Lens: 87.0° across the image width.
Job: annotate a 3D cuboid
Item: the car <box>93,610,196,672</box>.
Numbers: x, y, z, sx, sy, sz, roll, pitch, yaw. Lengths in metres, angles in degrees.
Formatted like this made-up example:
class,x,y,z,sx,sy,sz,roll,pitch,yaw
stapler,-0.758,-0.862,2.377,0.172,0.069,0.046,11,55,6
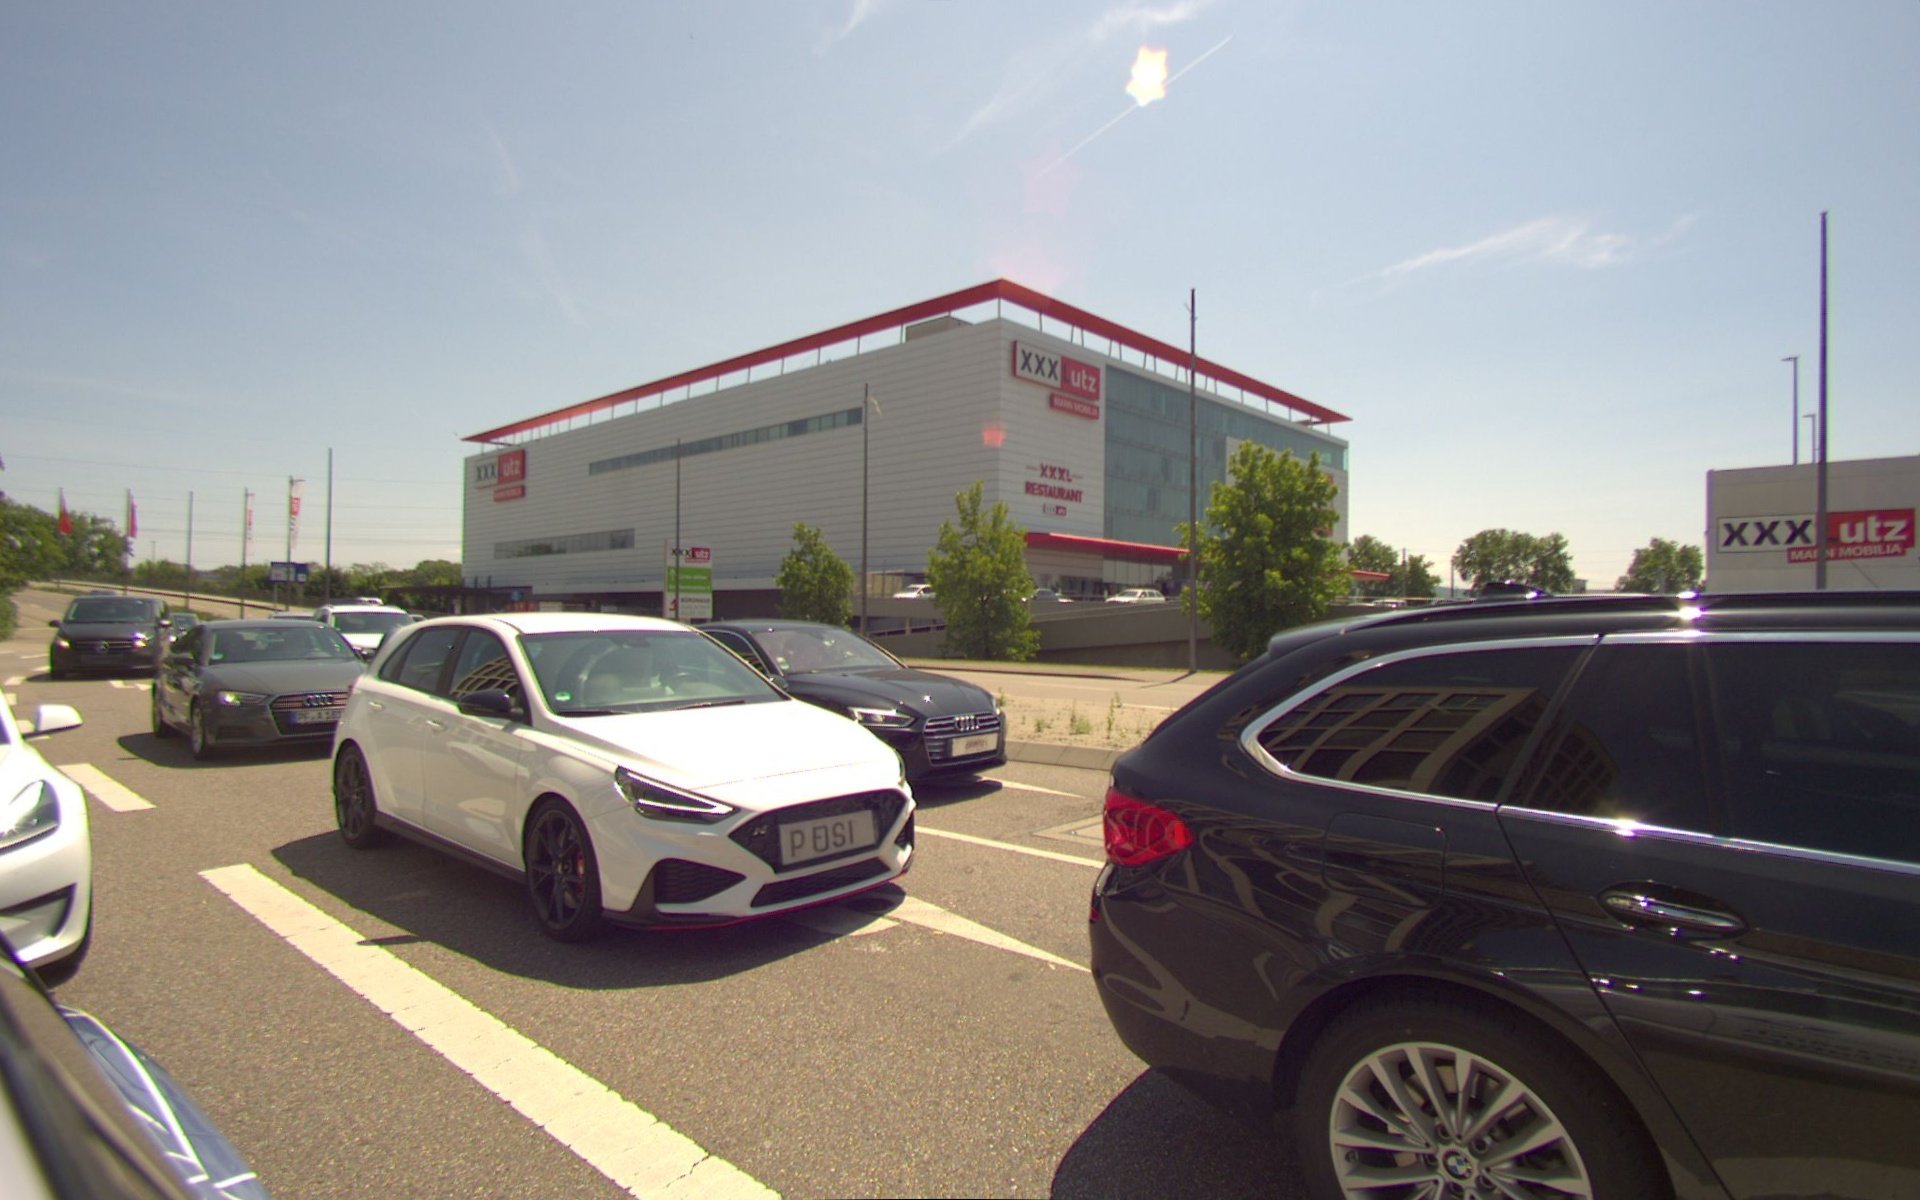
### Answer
class,x,y,z,sx,sy,sz,roll,pitch,yaw
car,-23.461,1.148,29.250,1.784,1.652,4.011,1,-2,-32

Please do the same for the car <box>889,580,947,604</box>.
class,x,y,z,sx,sy,sz,roll,pitch,yaw
car,-2.826,-0.535,69.210,1.717,1.519,3.944,-1,-2,42

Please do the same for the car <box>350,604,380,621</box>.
class,x,y,z,sx,sy,sz,roll,pitch,yaw
car,-79.576,1.708,135.364,4.815,2.300,2.162,-1,-2,44

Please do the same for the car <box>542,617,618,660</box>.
class,x,y,z,sx,sy,sz,roll,pitch,yaw
car,-16.164,1.588,42.958,1.838,1.736,4.050,2,-2,-39

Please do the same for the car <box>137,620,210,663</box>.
class,x,y,z,sx,sy,sz,roll,pitch,yaw
car,-28.189,1.474,36.371,1.582,1.451,3.744,1,-2,-30

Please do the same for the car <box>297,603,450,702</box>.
class,x,y,z,sx,sy,sz,roll,pitch,yaw
car,-11.301,0.907,19.354,1.743,1.653,4.498,0,0,-40

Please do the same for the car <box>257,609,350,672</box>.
class,x,y,z,sx,sy,sz,roll,pitch,yaw
car,-16.448,0.968,25.275,1.741,1.433,3.908,-1,-1,-36

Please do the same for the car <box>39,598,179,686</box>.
class,x,y,z,sx,sy,sz,roll,pitch,yaw
car,-19.657,0.911,23.585,1.865,1.835,4.850,1,-1,-33

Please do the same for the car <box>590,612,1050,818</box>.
class,x,y,z,sx,sy,sz,roll,pitch,yaw
car,-1.472,0.864,9.180,4.466,1.415,1.654,-2,-1,42

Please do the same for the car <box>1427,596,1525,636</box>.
class,x,y,z,sx,sy,sz,roll,pitch,yaw
car,27.109,0.853,53.240,4.323,2.029,1.974,0,-2,38

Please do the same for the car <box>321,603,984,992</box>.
class,x,y,z,sx,sy,sz,roll,pitch,yaw
car,-1.988,0.762,5.802,4.068,1.447,1.769,-1,-1,41

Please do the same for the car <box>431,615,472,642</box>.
class,x,y,z,sx,sy,sz,roll,pitch,yaw
car,-37.158,2.043,73.894,1.791,1.918,3.734,2,-2,-41

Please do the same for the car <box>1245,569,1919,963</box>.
class,x,y,z,sx,sy,sz,roll,pitch,yaw
car,3.587,0.613,4.732,4.009,1.433,1.674,-2,-1,43

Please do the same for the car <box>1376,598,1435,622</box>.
class,x,y,z,sx,sy,sz,roll,pitch,yaw
car,36.304,0.859,82.448,4.000,1.915,1.972,-1,-2,43

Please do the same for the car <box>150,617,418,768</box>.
class,x,y,z,sx,sy,sz,roll,pitch,yaw
car,-7.727,0.903,11.412,1.744,1.393,4.092,2,-2,-45

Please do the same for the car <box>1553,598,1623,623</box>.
class,x,y,z,sx,sy,sz,roll,pitch,yaw
car,45.673,0.738,73.639,4.134,1.754,1.759,0,-2,42

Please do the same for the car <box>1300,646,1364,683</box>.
class,x,y,z,sx,sy,sz,roll,pitch,yaw
car,19.089,3.284,51.872,1.997,1.719,3.949,-1,-2,38

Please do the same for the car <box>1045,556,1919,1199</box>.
class,x,y,z,sx,sy,sz,roll,pitch,yaw
car,2.513,0.663,1.748,4.553,1.451,1.779,-1,-1,40

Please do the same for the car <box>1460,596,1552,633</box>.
class,x,y,z,sx,sy,sz,roll,pitch,yaw
car,30.874,0.829,57.274,4.323,2.029,1.975,0,-2,38

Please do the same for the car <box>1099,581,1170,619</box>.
class,x,y,z,sx,sy,sz,roll,pitch,yaw
car,9.939,0.040,57.513,4.407,2.029,1.680,2,-2,-44

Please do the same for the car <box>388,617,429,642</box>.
class,x,y,z,sx,sy,sz,roll,pitch,yaw
car,-39.533,2.112,72.474,1.838,1.736,4.050,2,-3,-39

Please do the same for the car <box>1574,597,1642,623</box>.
class,x,y,z,sx,sy,sz,roll,pitch,yaw
car,52.263,0.776,81.667,4.328,2.029,1.972,0,-2,42

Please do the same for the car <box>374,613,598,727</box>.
class,x,y,z,sx,sy,sz,roll,pitch,yaw
car,-7.160,0.943,15.047,1.744,1.413,4.435,0,-1,-43

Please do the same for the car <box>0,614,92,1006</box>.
class,x,y,z,sx,sy,sz,roll,pitch,yaw
car,-5.588,0.807,4.683,4.282,1.447,1.800,-1,0,41
